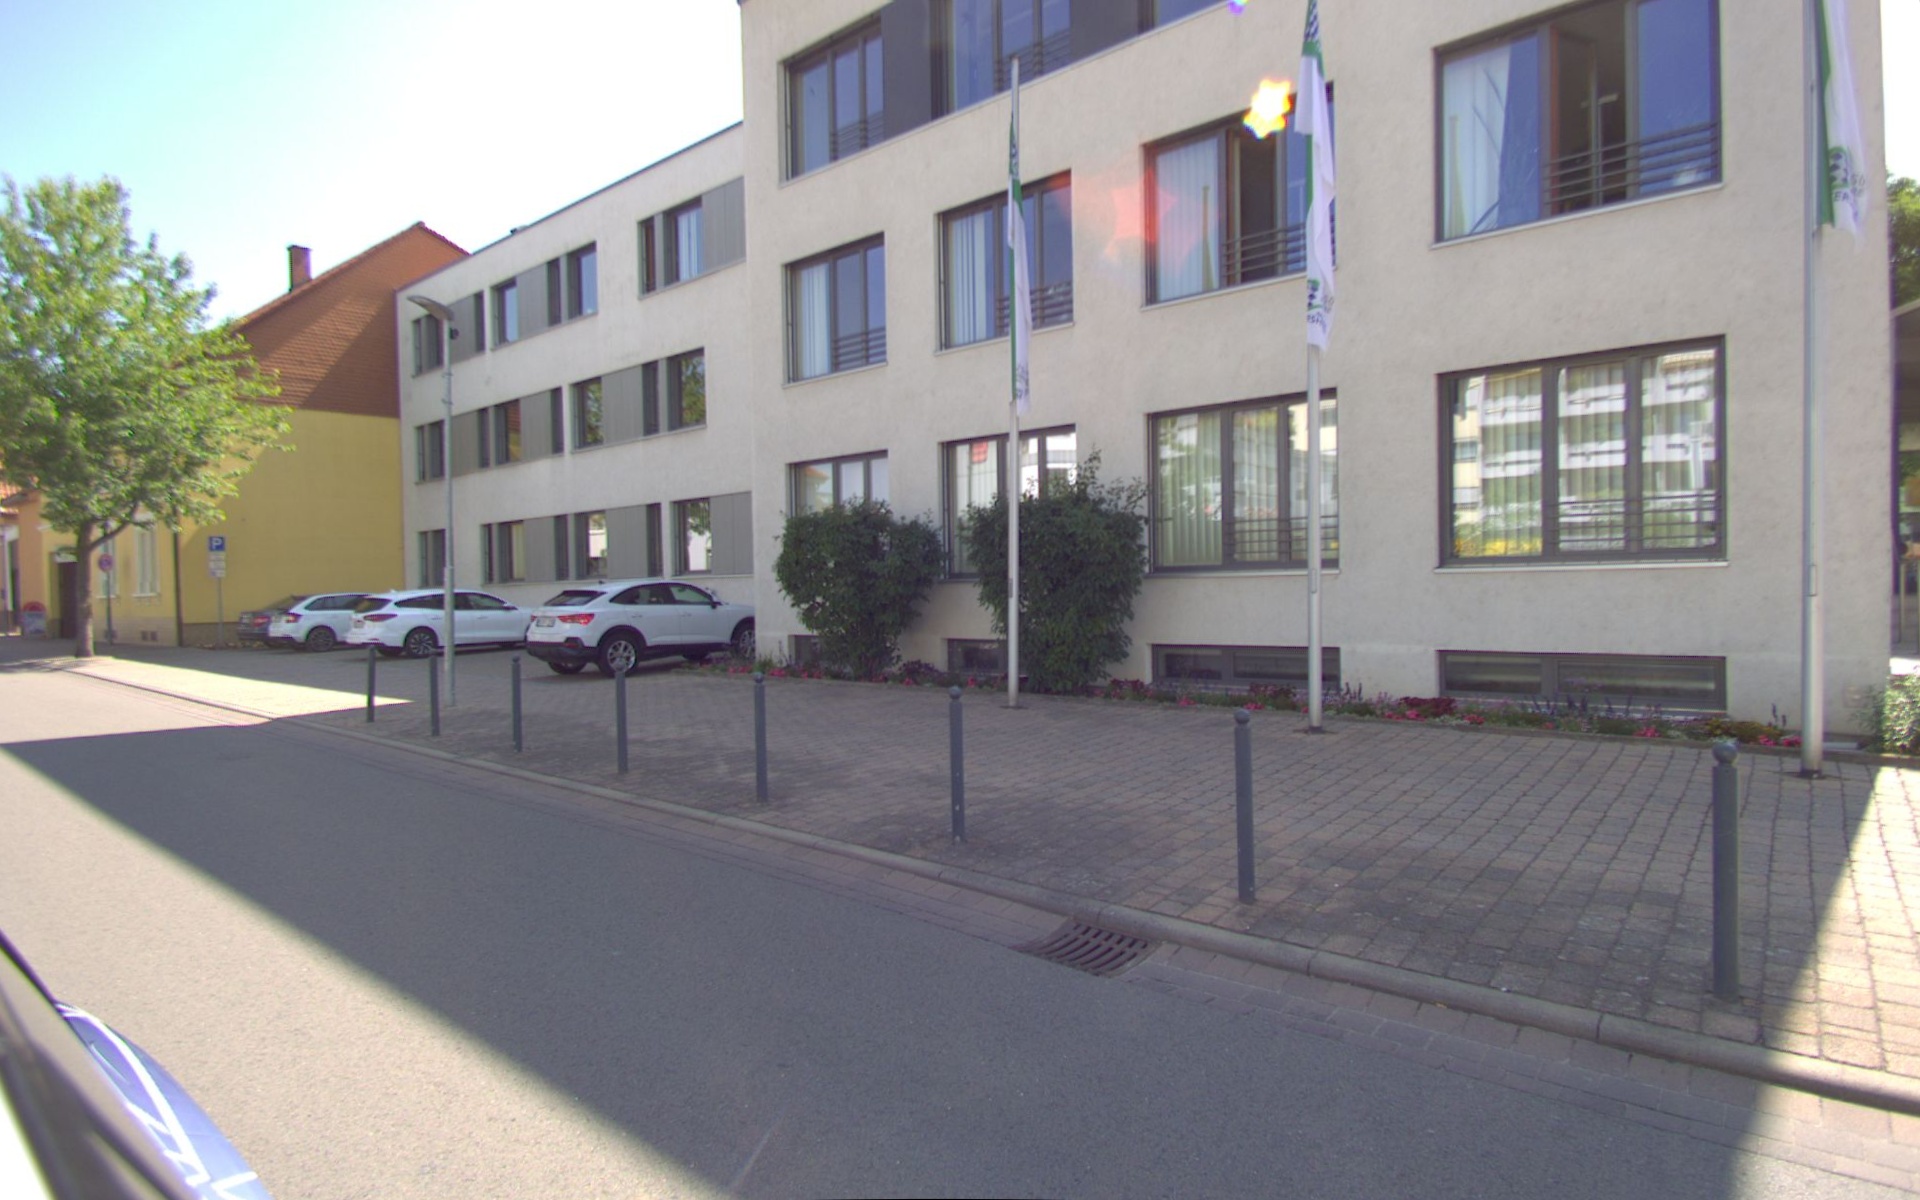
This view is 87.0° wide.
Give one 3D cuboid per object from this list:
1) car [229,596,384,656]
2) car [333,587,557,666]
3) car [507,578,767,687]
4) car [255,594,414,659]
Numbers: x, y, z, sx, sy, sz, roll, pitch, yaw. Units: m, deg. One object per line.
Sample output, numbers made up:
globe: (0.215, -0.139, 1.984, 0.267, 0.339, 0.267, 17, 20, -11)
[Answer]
car: (-17.612, 0.666, 27.367, 1.373, 1.412, 3.218, -1, 2, 38)
car: (-11.595, 0.534, 23.033, 1.512, 1.490, 4.270, 0, 2, 40)
car: (-5.455, 0.471, 17.498, 1.747, 1.559, 3.949, -1, 2, 38)
car: (-15.958, 0.631, 25.901, 1.642, 1.461, 3.099, -1, 2, 41)
